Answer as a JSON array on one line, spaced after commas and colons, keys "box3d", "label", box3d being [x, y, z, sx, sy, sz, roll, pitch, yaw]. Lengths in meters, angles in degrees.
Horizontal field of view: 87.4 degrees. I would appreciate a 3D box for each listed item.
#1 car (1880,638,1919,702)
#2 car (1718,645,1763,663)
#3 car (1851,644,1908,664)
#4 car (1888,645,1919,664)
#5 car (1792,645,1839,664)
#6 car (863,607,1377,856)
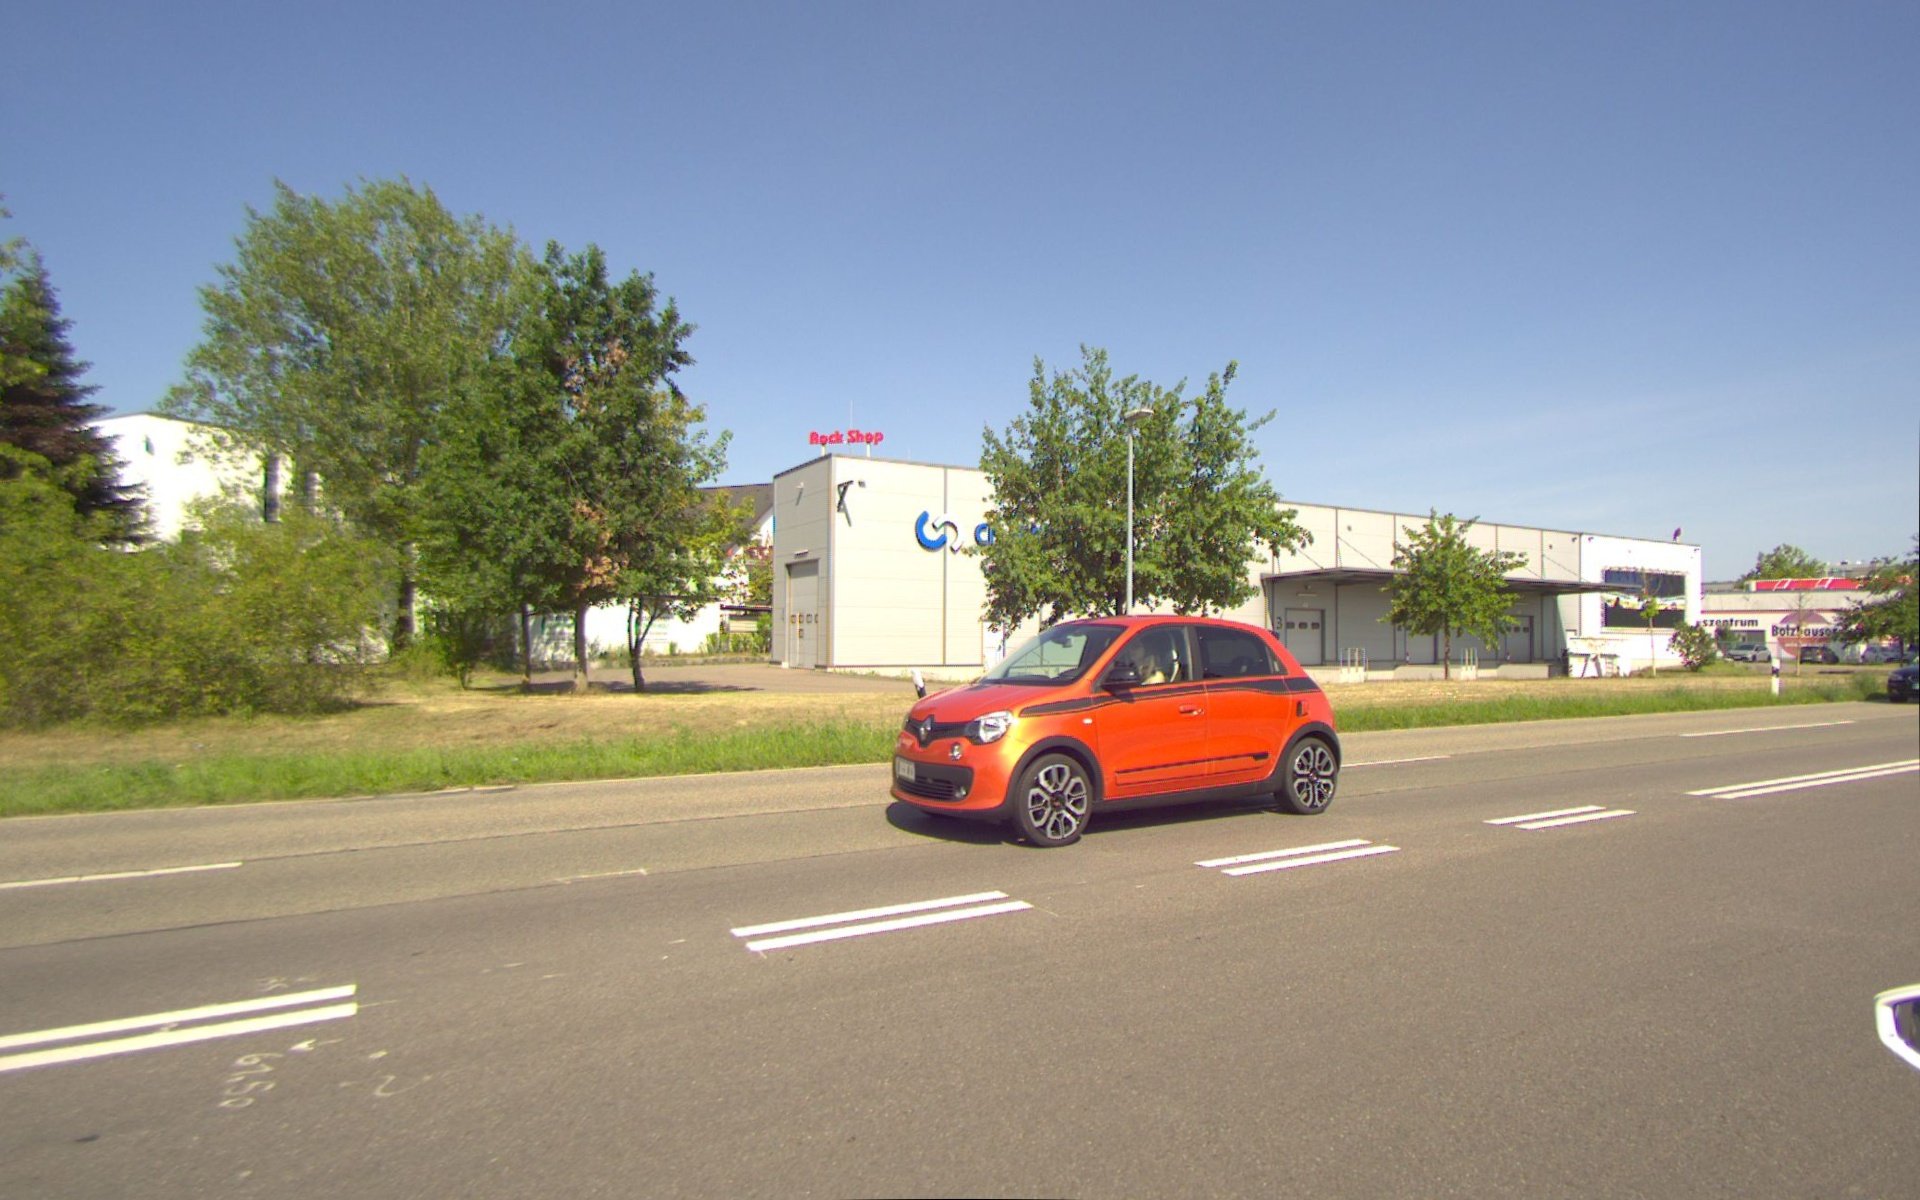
[{"box3d": [24.646, 1.708, 24.712, 4.685, 1.499, 1.645, 2, -4, -31], "label": "car"}, {"box3d": [62.719, 4.331, 80.737, 3.679, 1.429, 1.628, 2, -2, -31], "label": "car"}, {"box3d": [72.228, 4.237, 78.954, 1.705, 1.520, 4.002, 0, -2, 17], "label": "car"}, {"box3d": [75.850, 4.288, 78.950, 1.737, 1.520, 3.969, 2, -2, -29], "label": "car"}, {"box3d": [65.241, 4.157, 76.569, 3.679, 1.408, 1.628, 2, -2, -31], "label": "car"}, {"box3d": [1.305, 0.899, 7.852, 3.799, 1.517, 1.643, 2, -4, -30], "label": "car"}]
